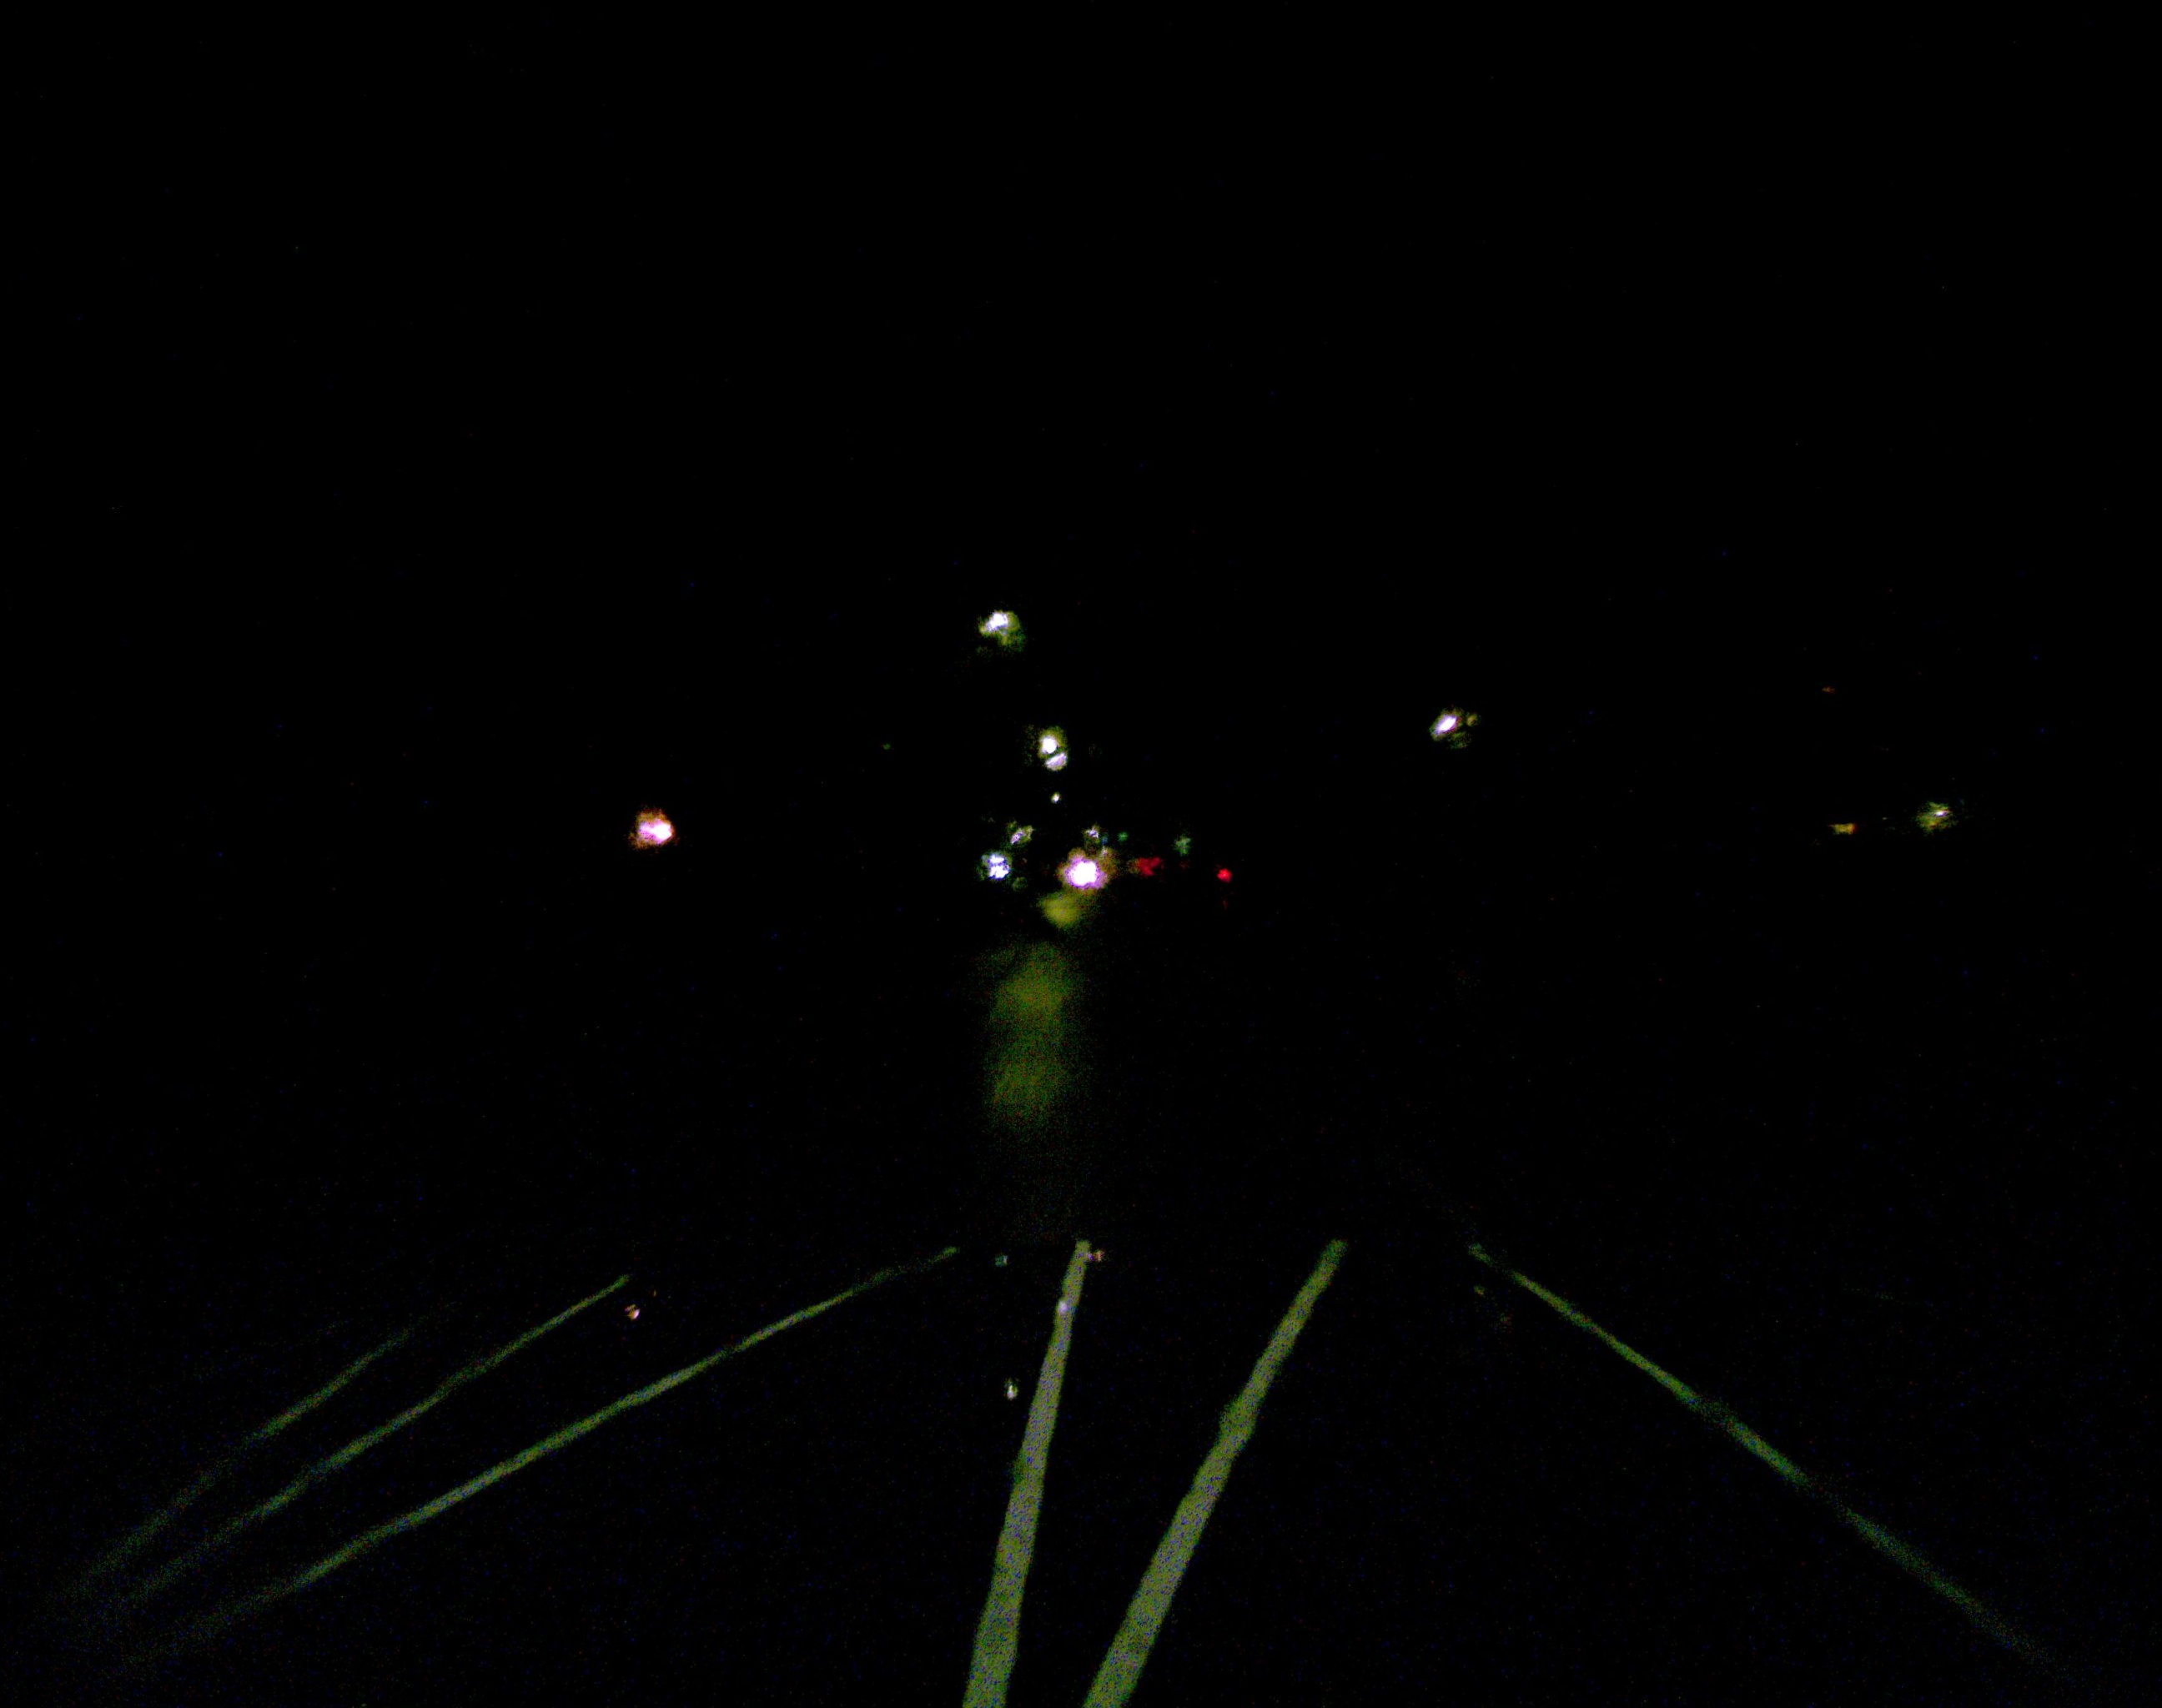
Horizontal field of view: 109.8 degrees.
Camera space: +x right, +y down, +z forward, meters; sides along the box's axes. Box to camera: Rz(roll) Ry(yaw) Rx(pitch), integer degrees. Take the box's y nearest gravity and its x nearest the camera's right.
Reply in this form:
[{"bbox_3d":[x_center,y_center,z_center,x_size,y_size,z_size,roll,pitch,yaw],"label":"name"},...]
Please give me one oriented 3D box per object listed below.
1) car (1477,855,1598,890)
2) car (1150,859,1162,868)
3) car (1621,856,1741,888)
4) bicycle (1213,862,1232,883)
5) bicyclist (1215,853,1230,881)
[{"bbox_3d":[19.225,0.776,32.123,4.084,1.364,1.494,0,4,5],"label":"car"},{"bbox_3d":[13.498,1.714,136.542,1.997,1.447,4.306,3,1,8],"label":"car"},{"bbox_3d":[25.320,0.749,32.151,3.864,1.252,1.493,-1,3,1],"label":"car"},{"bbox_3d":[8.297,1.074,44.495,0.631,1.154,2.313,-2,0,0],"label":"bicycle"},{"bbox_3d":[8.247,0.773,44.284,0.638,1.585,0.961,-3,-3,-1],"label":"bicyclist"}]
